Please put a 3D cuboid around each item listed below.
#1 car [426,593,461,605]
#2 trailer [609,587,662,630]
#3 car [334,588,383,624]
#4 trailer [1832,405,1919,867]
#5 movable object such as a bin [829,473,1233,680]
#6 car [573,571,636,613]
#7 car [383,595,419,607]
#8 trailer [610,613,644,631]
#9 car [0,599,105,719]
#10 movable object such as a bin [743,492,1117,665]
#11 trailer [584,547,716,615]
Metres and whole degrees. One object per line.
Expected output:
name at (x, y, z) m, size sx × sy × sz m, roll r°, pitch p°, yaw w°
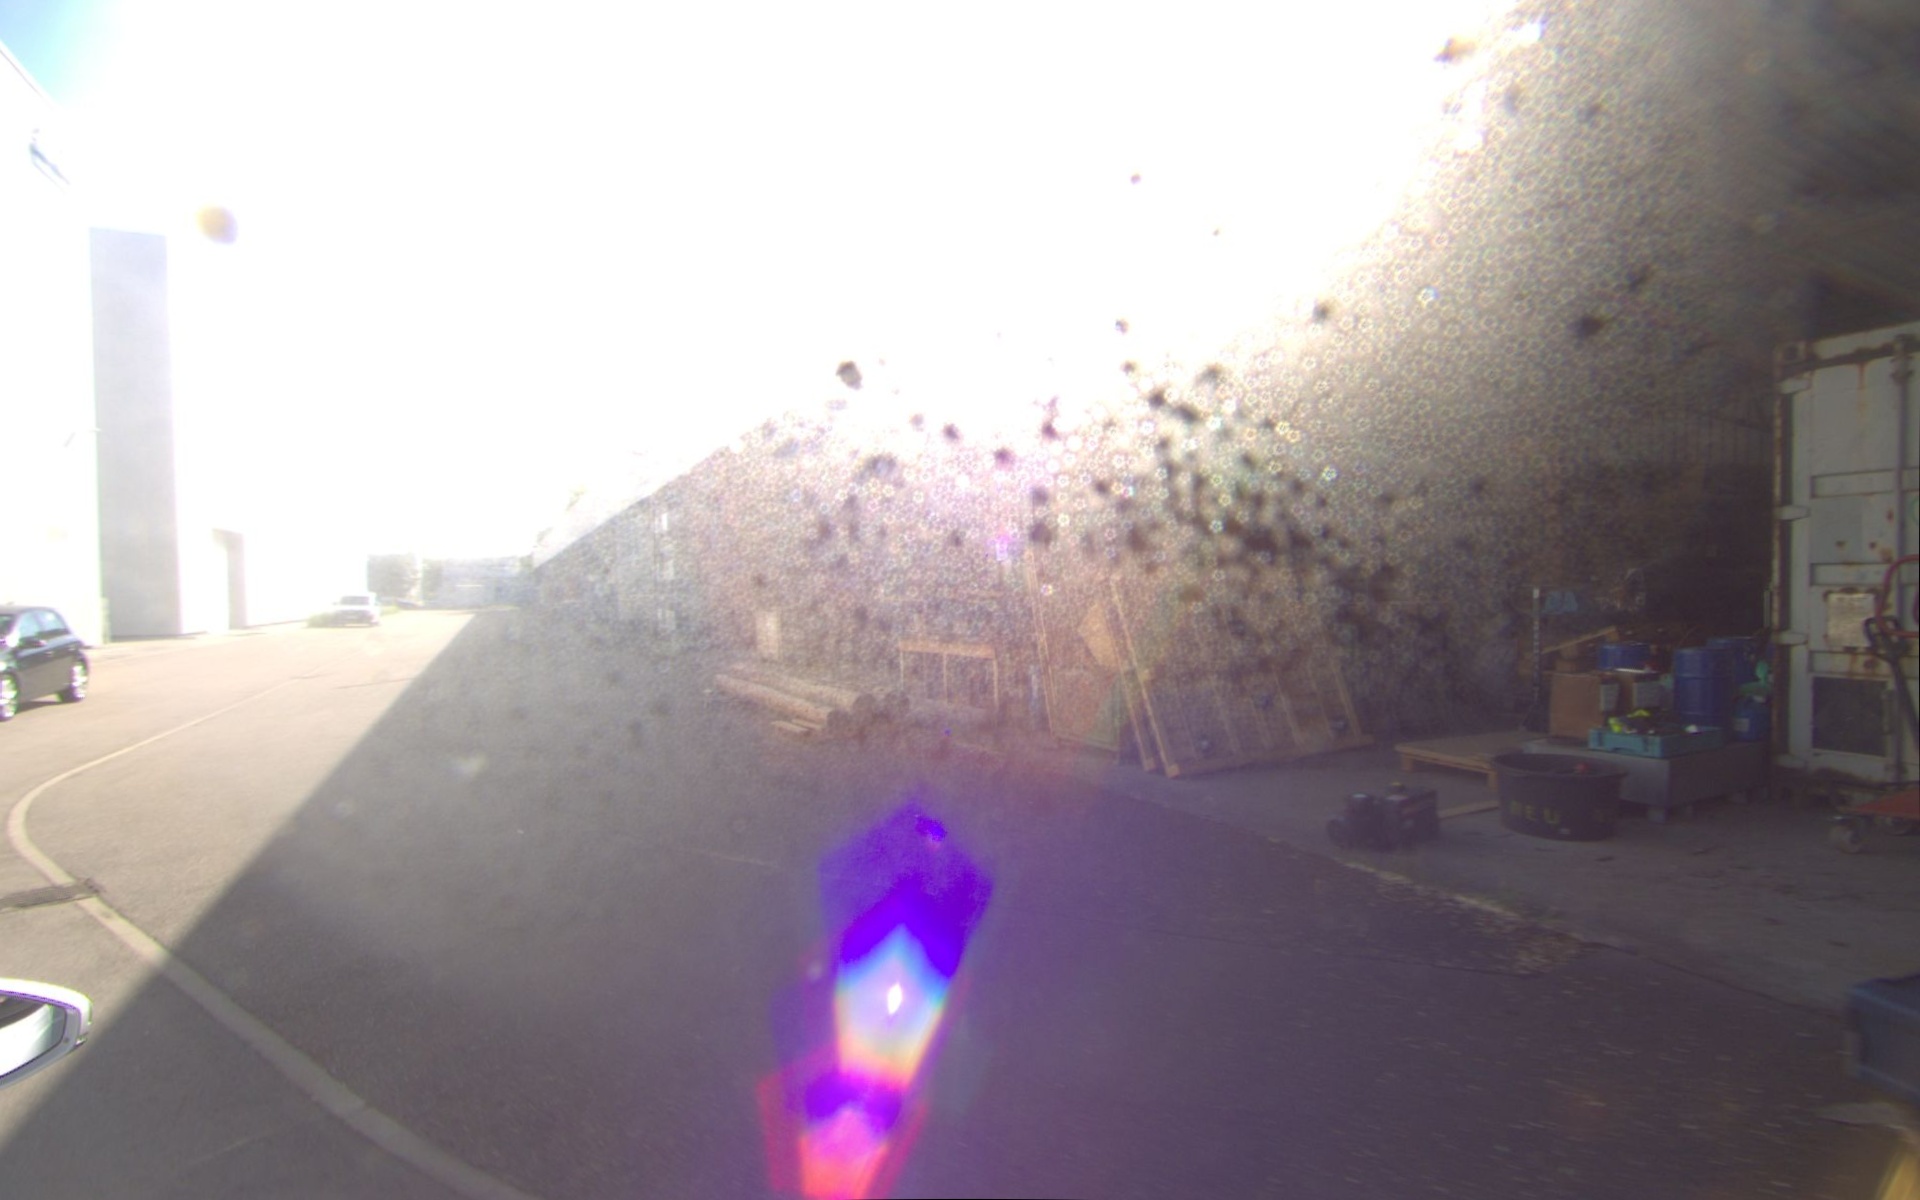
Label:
car at (-65.034, -0.128, 126.093) m, size 3.834 × 1.481 × 1.617 m, roll -1°, pitch 1°, yaw -23°
trailer at (-12.303, 0.307, 37.884) m, size 1.528 × 1.540 × 1.902 m, roll 1°, pitch 2°, yaw -30°
car at (-31.576, 0.295, 52.651) m, size 1.885 × 1.818 × 3.982 m, roll -1°, pitch 1°, yaw -27°
trailer at (4.778, 0.181, 4.352) m, size 0.573 × 2.096 × 1.277 m, roll 1°, pitch 2°, yaw -28°
movable object such as a bin at (1.234, -0.432, 16.865) m, size 6.274 × 2.945 × 2.674 m, roll -2°, pitch 2°, yaw -26°
car at (-22.361, -0.511, 62.946) m, size 3.460 × 2.475 × 1.992 m, roll -2°, pitch 2°, yaw -25°
car at (-69.914, 0.143, 125.231) m, size 3.837 × 1.481 × 1.616 m, roll -1°, pitch 1°, yaw -26°
trailer at (-11.542, 0.771, 34.698) m, size 0.960 × 0.575 × 0.728 m, roll 1°, pitch 2°, yaw -30°
car at (-13.618, 0.746, 13.906) m, size 1.630 × 1.465 × 3.862 m, roll 2°, pitch -1°, yaw -25°
movable object such as a bin at (-0.529, -0.474, 19.765) m, size 6.848 × 2.945 × 2.674 m, roll -2°, pitch 2°, yaw -26°
trailer at (-16.522, -1.035, 53.429) m, size 6.309 × 3.416 × 2.812 m, roll -2°, pitch 2°, yaw -27°
